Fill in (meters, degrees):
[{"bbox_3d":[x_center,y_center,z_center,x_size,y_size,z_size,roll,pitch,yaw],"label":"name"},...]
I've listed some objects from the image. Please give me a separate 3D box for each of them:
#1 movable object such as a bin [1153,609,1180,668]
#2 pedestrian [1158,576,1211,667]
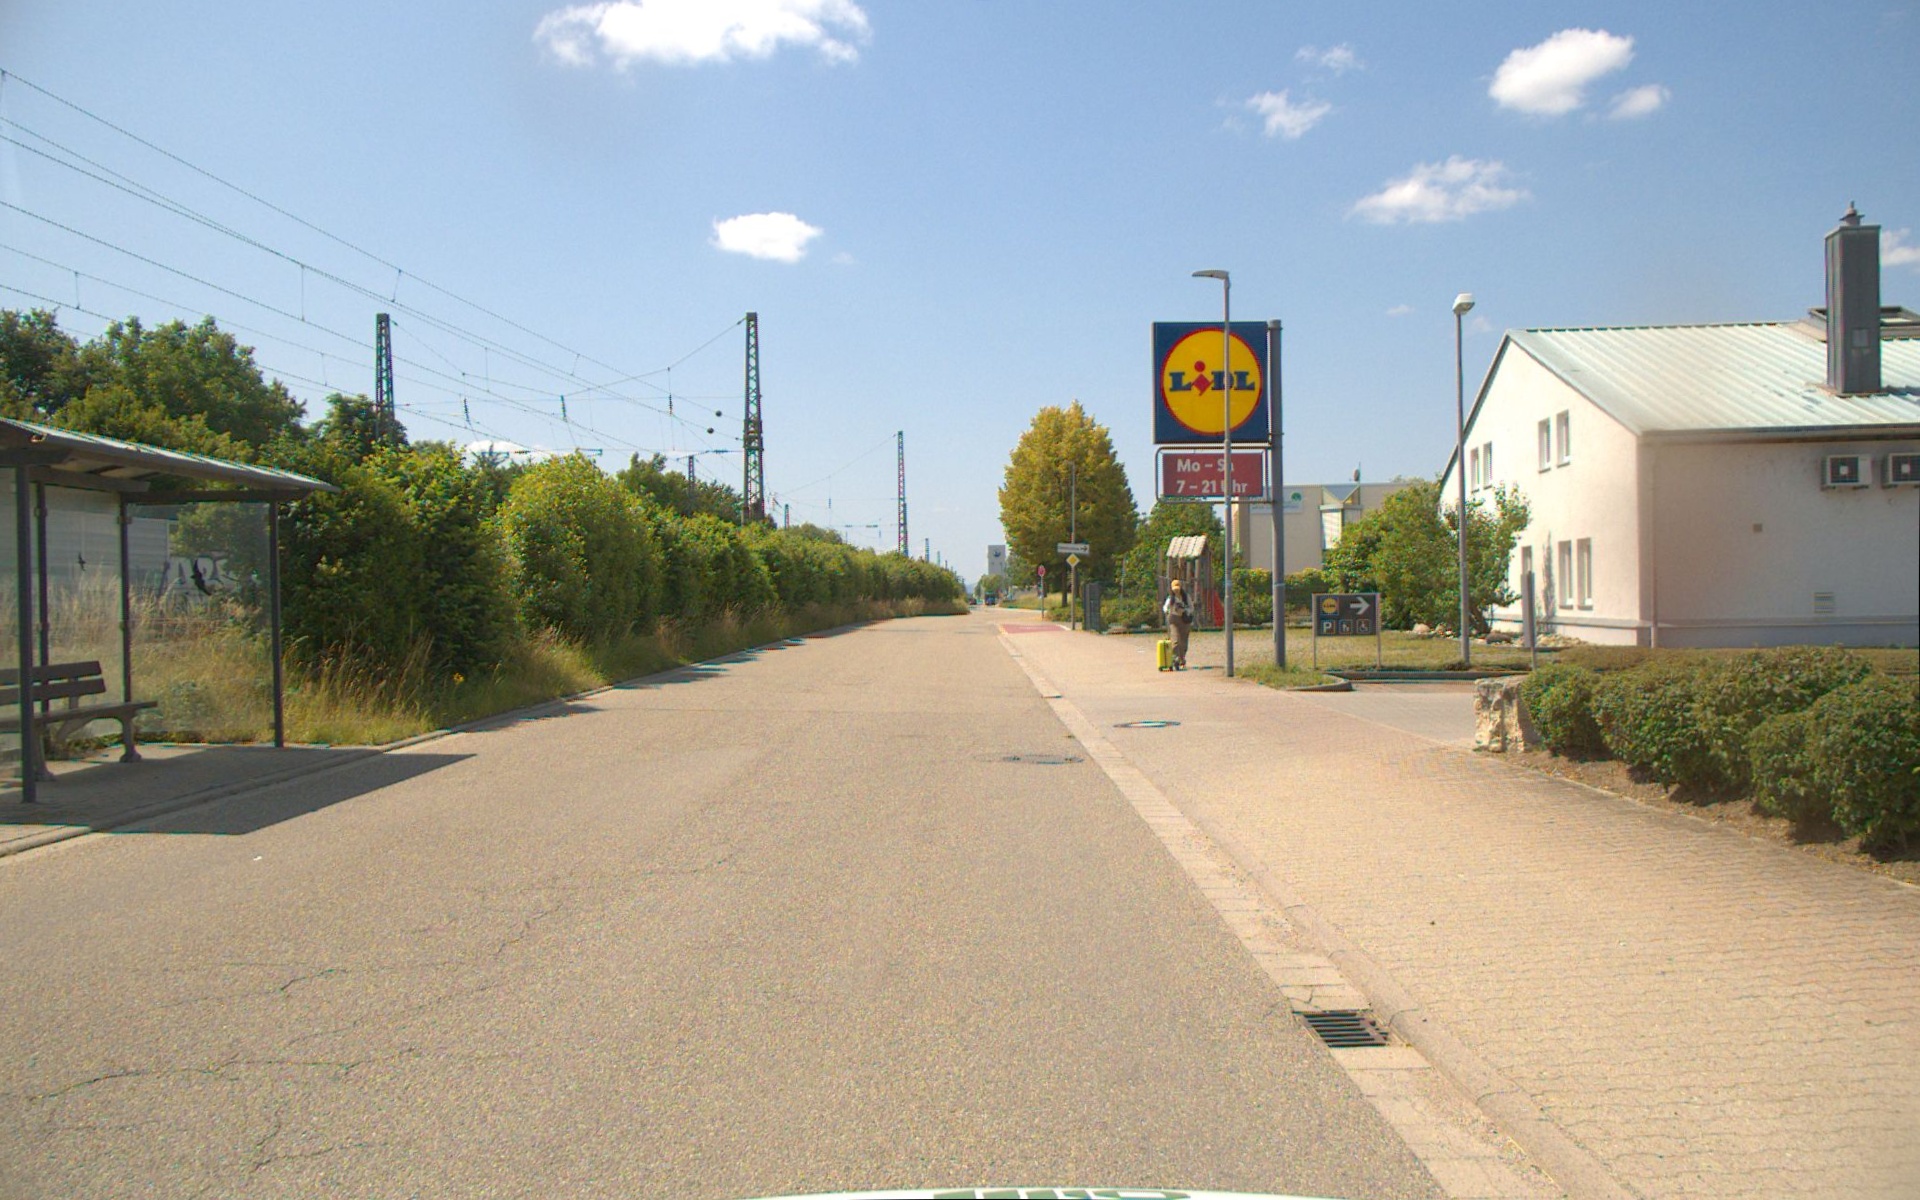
[{"bbox_3d":[3.716,0.689,29.744,0.367,1.047,0.498,-1,1,-5],"label":"movable object such as a bin"},{"bbox_3d":[4.097,0.380,30.248,0.746,1.630,1.209,-1,0,-3],"label":"pedestrian"}]
